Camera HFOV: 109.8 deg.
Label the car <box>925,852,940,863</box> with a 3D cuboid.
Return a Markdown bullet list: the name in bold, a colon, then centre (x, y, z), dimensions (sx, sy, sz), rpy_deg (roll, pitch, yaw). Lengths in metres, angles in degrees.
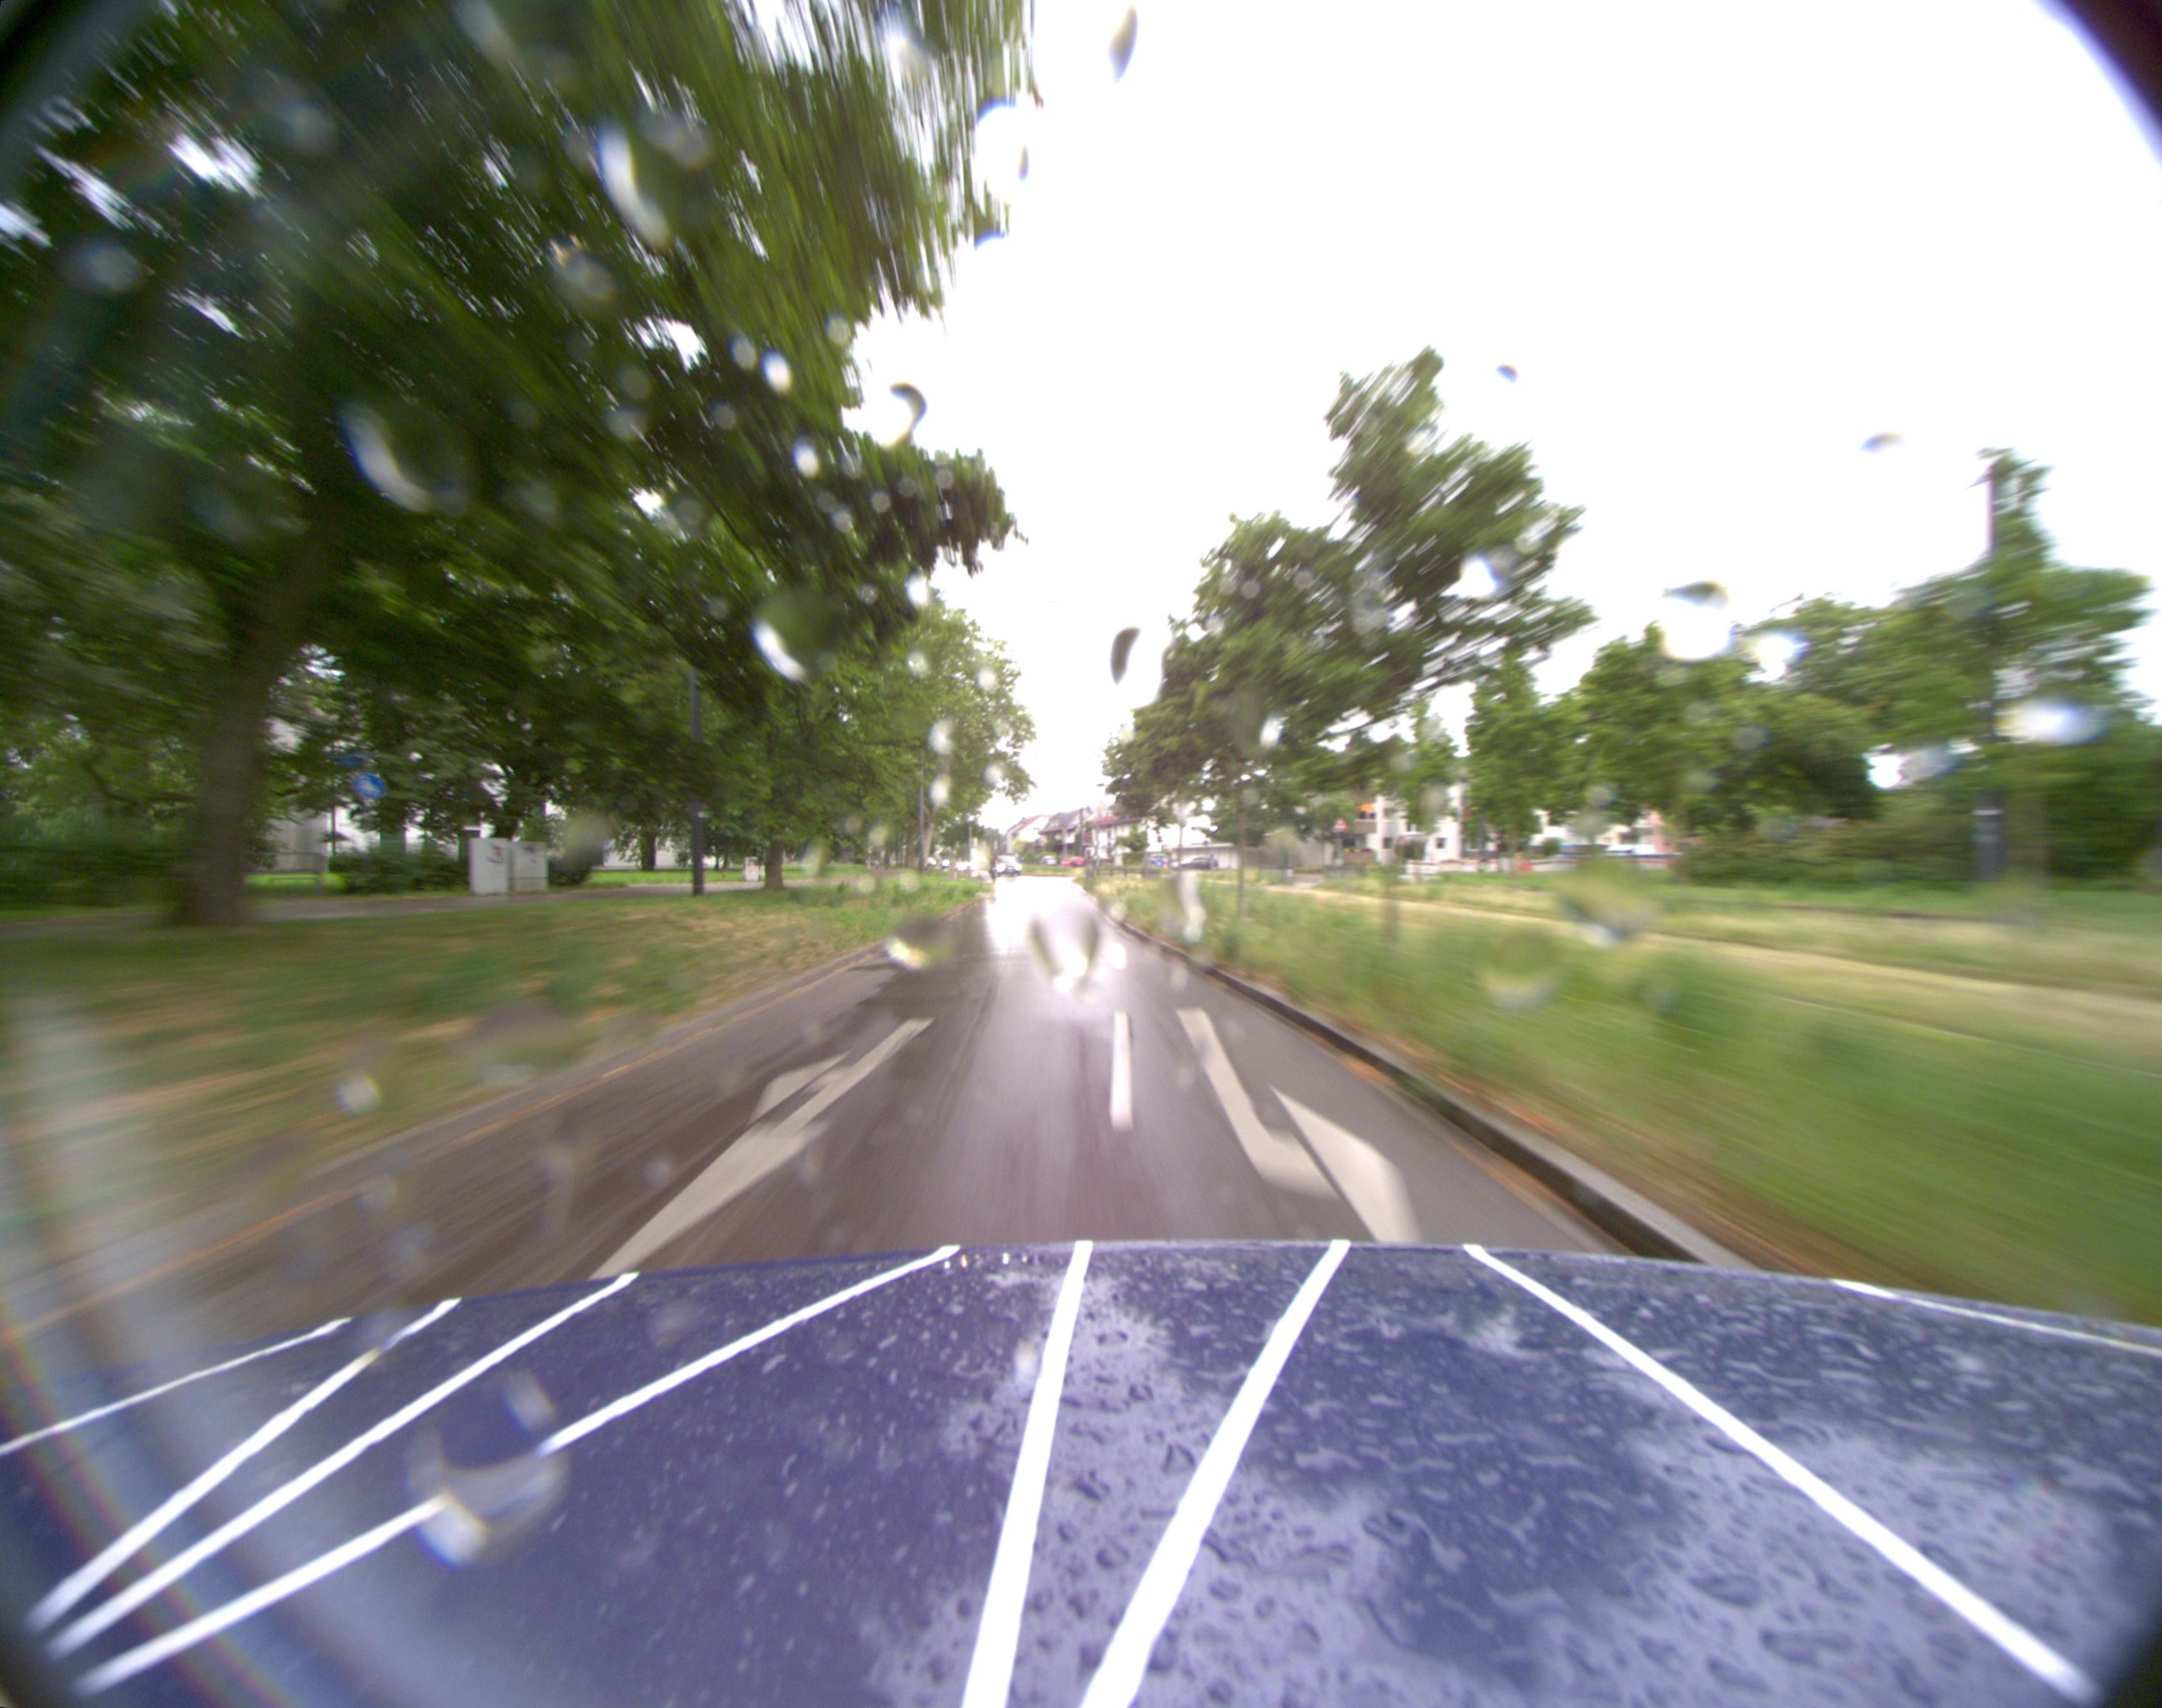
- **car**: centre (-23.233, 0.576, 118.865), dimensions (1.770, 1.715, 3.927), rpy_deg (0, 1, -19)

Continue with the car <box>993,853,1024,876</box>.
- **car**: centre (-5.787, 0.836, 60.658), dimensions (1.769, 1.715, 3.929), rpy_deg (-3, 0, -15)

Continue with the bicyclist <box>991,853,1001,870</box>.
- **bicyclist**: centre (-5.553, 0.491, 49.604), dimensions (0.622, 1.078, 0.624), rpy_deg (0, 1, -13)

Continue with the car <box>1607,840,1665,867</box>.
- **car**: centre (50.011, -0.037, 68.460), dimensions (4.474, 2.432, 1.915), rpy_deg (0, 0, -17)

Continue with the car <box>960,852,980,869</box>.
- **car**: centre (-11.621, 0.666, 79.360), dimensions (1.769, 1.715, 3.929), rpy_deg (-1, 1, -13)

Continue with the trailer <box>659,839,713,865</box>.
- **trailer**: centre (-37.048, -0.175, 71.317), dimensions (1.887, 2.295, 4.029), rpy_deg (0, 0, 34)

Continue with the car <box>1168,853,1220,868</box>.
- **car**: centre (11.265, 0.672, 75.498), dimensions (4.743, 1.357, 1.846), rpy_deg (-1, 0, -14)

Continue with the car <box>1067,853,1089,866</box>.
- **car**: centre (-0.446, 0.685, 99.891), dimensions (1.848, 1.538, 3.967), rpy_deg (-3, 1, -16)

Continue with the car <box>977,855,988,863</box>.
- **car**: centre (-22.107, 1.127, 169.970), dimensions (1.761, 1.507, 3.848), rpy_deg (-3, 1, -17)

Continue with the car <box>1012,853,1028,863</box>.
- **car**: centre (-10.959, 0.774, 135.594), dimensions (1.851, 1.696, 4.176), rpy_deg (-2, 0, -18)

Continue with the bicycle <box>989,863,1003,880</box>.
- **bicycle**: centre (-5.541, 1.115, 49.554), dimensions (0.660, 1.008, 2.254), rpy_deg (0, 1, -13)

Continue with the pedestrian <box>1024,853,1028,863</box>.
- **pedestrian**: centre (-9.987, 0.676, 138.379), dimensions (0.600, 1.757, 0.868), rpy_deg (-2, 1, -16)

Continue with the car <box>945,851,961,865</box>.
- **car**: centre (-16.950, 0.514, 100.609), dimensions (1.770, 1.715, 3.928), rpy_deg (0, 1, -16)

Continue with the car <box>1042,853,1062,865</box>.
- **car**: centre (-4.345, 0.716, 112.763), dimensions (2.001, 1.604, 4.677), rpy_deg (-2, 0, -16)

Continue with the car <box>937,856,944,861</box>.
- **car**: centre (-42.076, 1.290, 227.338), dimensions (1.761, 1.507, 3.848), rpy_deg (-3, 1, -17)

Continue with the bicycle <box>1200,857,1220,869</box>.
- **bicycle**: centre (11.879, 0.857, 69.892), dimensions (0.483, 1.013, 1.837), rpy_deg (-5, 2, -41)

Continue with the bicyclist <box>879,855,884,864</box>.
- **bicyclist**: centre (-21.642, 0.594, 82.444), dimensions (0.488, 1.032, 0.591), rpy_deg (0, 1, -5)

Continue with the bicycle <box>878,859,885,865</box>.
- **bicycle**: centre (-21.646, 0.865, 82.473), dimensions (0.488, 0.704, 1.457), rpy_deg (0, 0, -5)

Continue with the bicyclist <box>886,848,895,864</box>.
- **bicyclist**: centre (-20.724, 0.232, 82.625), dimensions (0.713, 1.711, 0.956), rpy_deg (0, 1, -5)

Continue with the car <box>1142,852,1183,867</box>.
- **car**: centre (8.914, 0.575, 83.423), dimensions (4.003, 1.567, 1.890), rpy_deg (0, 0, -17)

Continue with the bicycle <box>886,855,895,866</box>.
- **bicycle**: centre (-20.722, 0.678, 82.639), dimensions (0.713, 1.136, 1.971), rpy_deg (0, 1, -5)
